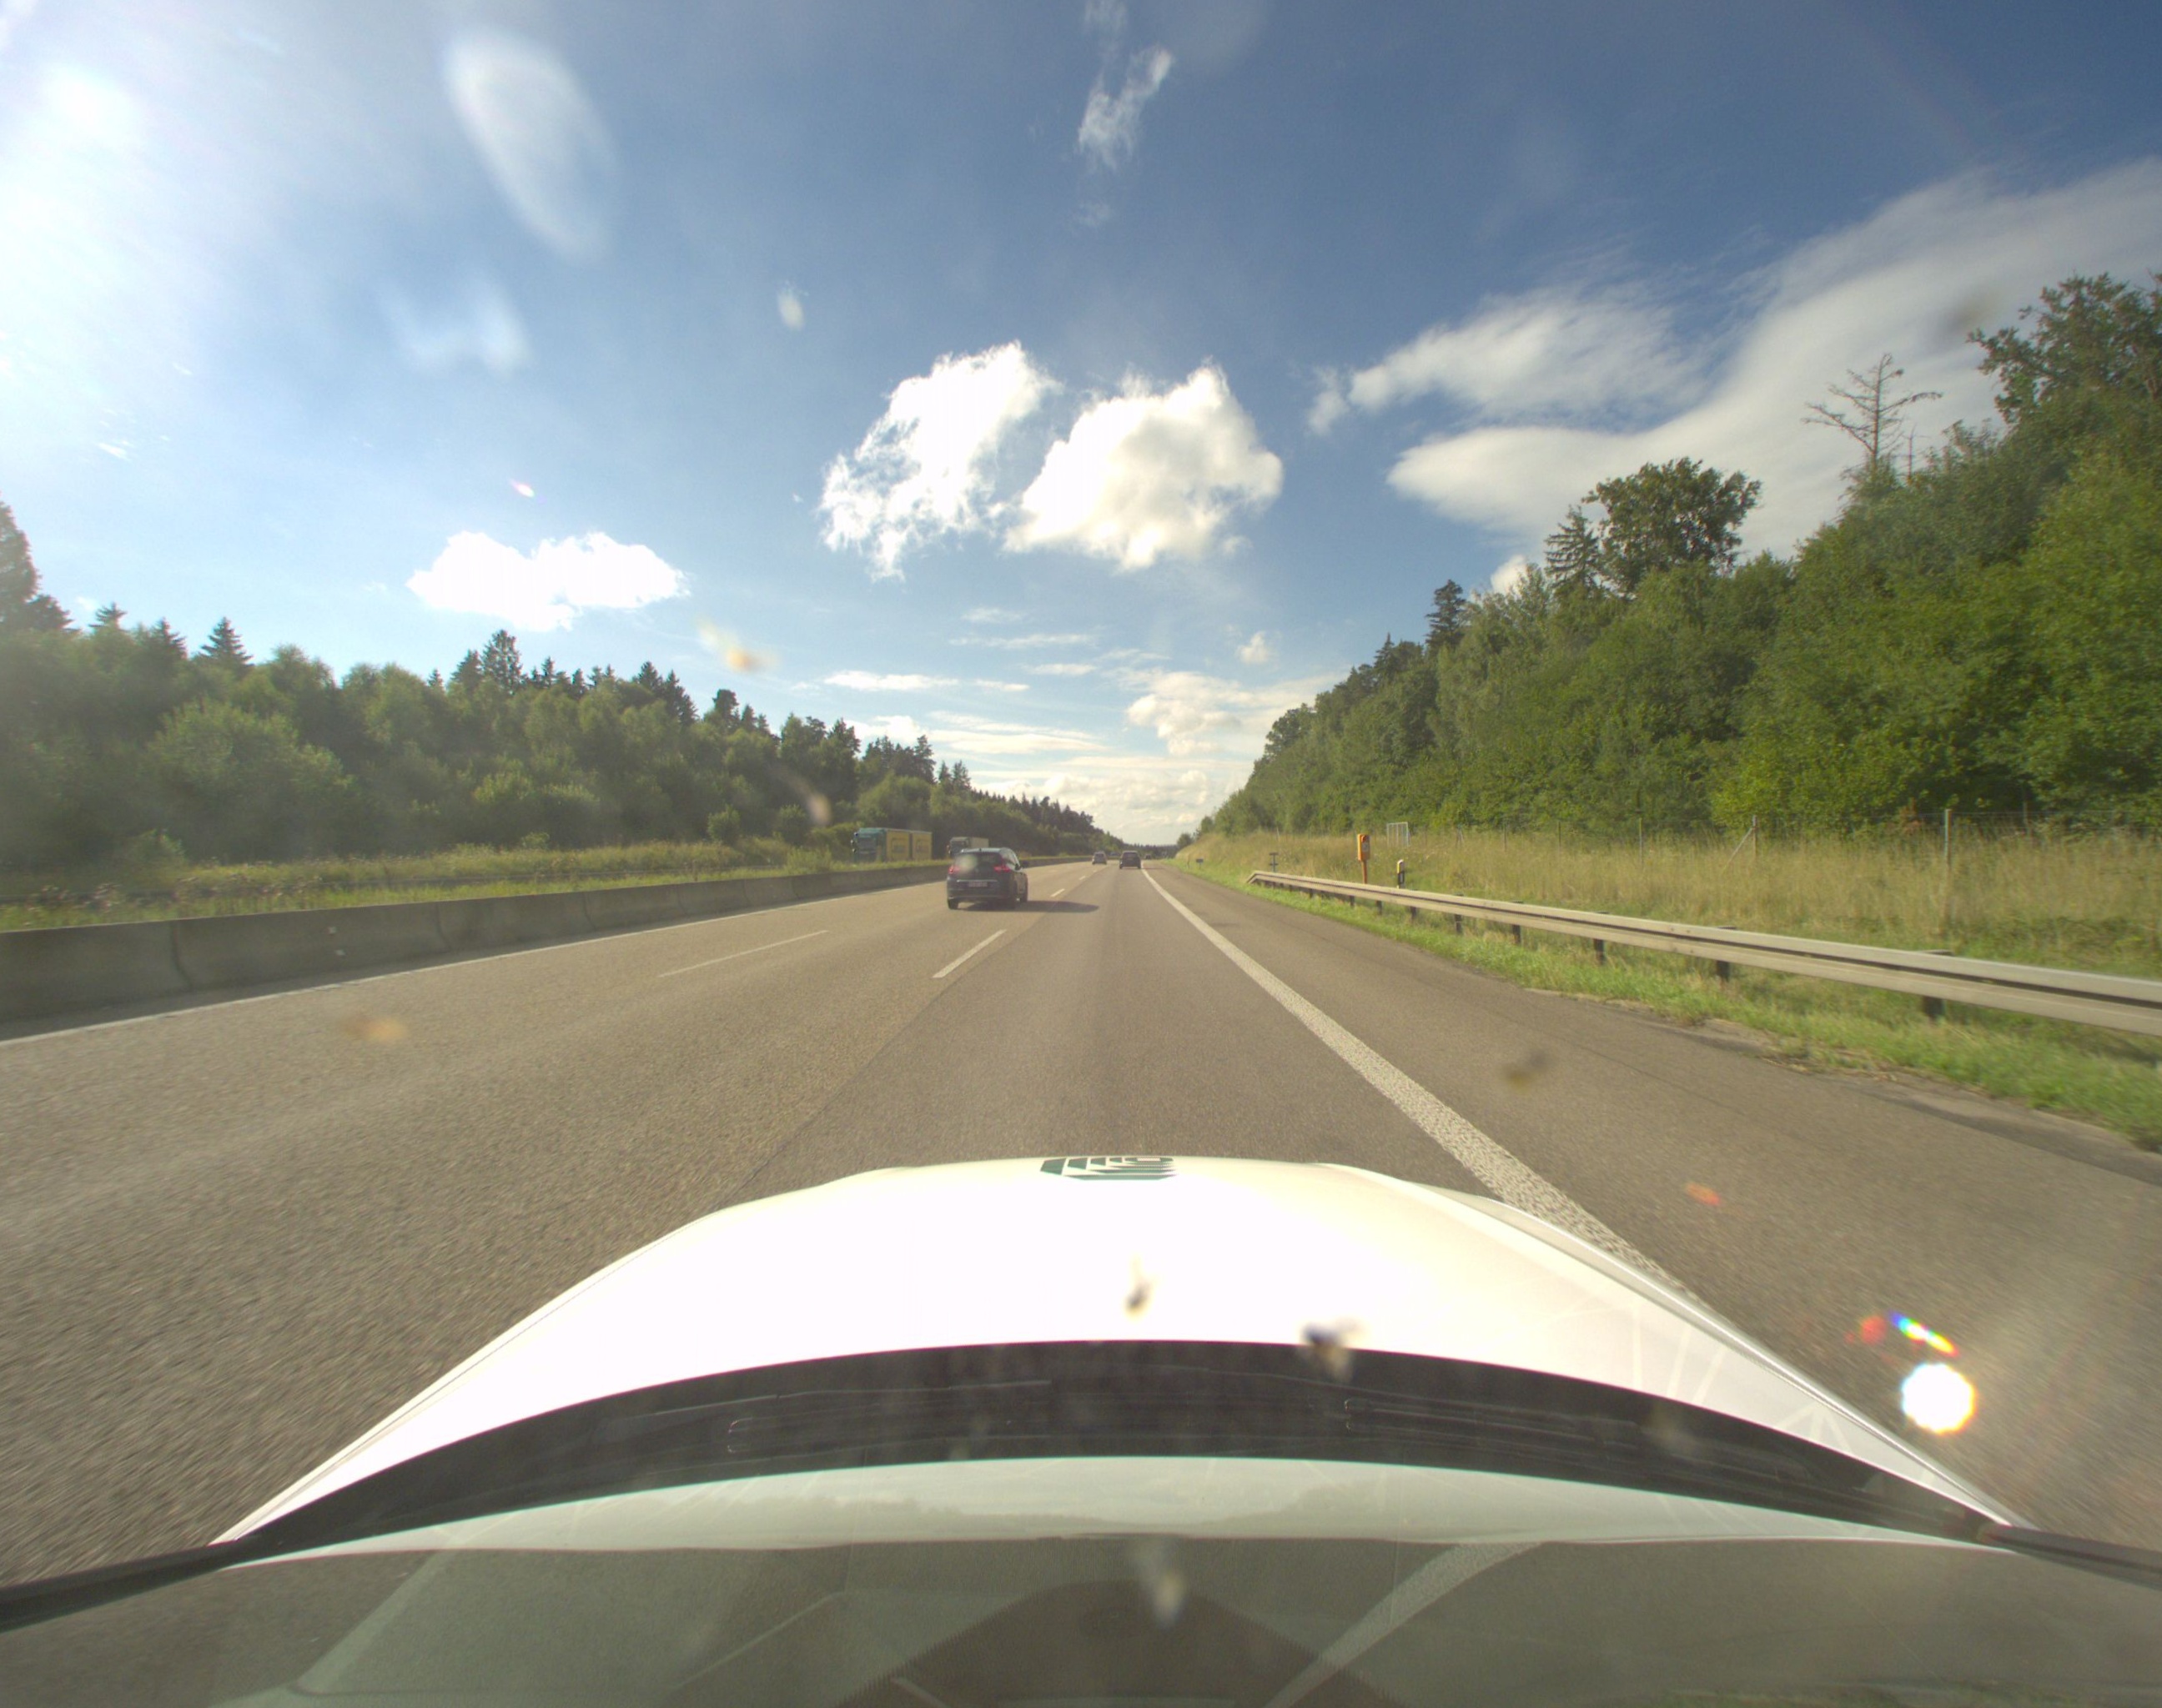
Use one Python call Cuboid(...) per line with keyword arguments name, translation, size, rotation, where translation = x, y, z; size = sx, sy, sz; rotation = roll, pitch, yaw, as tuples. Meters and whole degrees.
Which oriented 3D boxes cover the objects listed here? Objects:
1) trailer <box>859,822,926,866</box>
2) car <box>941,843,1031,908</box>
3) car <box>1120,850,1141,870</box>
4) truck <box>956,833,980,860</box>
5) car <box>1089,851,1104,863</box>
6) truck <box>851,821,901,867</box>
Cuboid(name="trailer", translation=(-18.663, -0.949, 81.872), size=(2.637, 4.086, 13.217), rotation=(-1, 0, 4))
Cuboid(name="car", translation=(-2.639, 0.558, 23.760), size=(1.986, 1.706, 4.530), rotation=(-1, 0, 1))
Cuboid(name="car", translation=(4.441, 0.538, 73.367), size=(1.866, 1.675, 3.893), rotation=(0, 1, 3))
Cuboid(name="truck", translation=(-16.333, -1.054, 117.965), size=(2.683, 3.749, 5.172), rotation=(0, 0, 2))
Cuboid(name="car", translation=(2.022, 0.346, 105.107), size=(1.868, 1.497, 3.879), rotation=(0, 1, -1))
Cuboid(name="truck", translation=(-19.097, -0.898, 76.228), size=(2.637, 4.086, 6.424), rotation=(-1, 0, 4))
